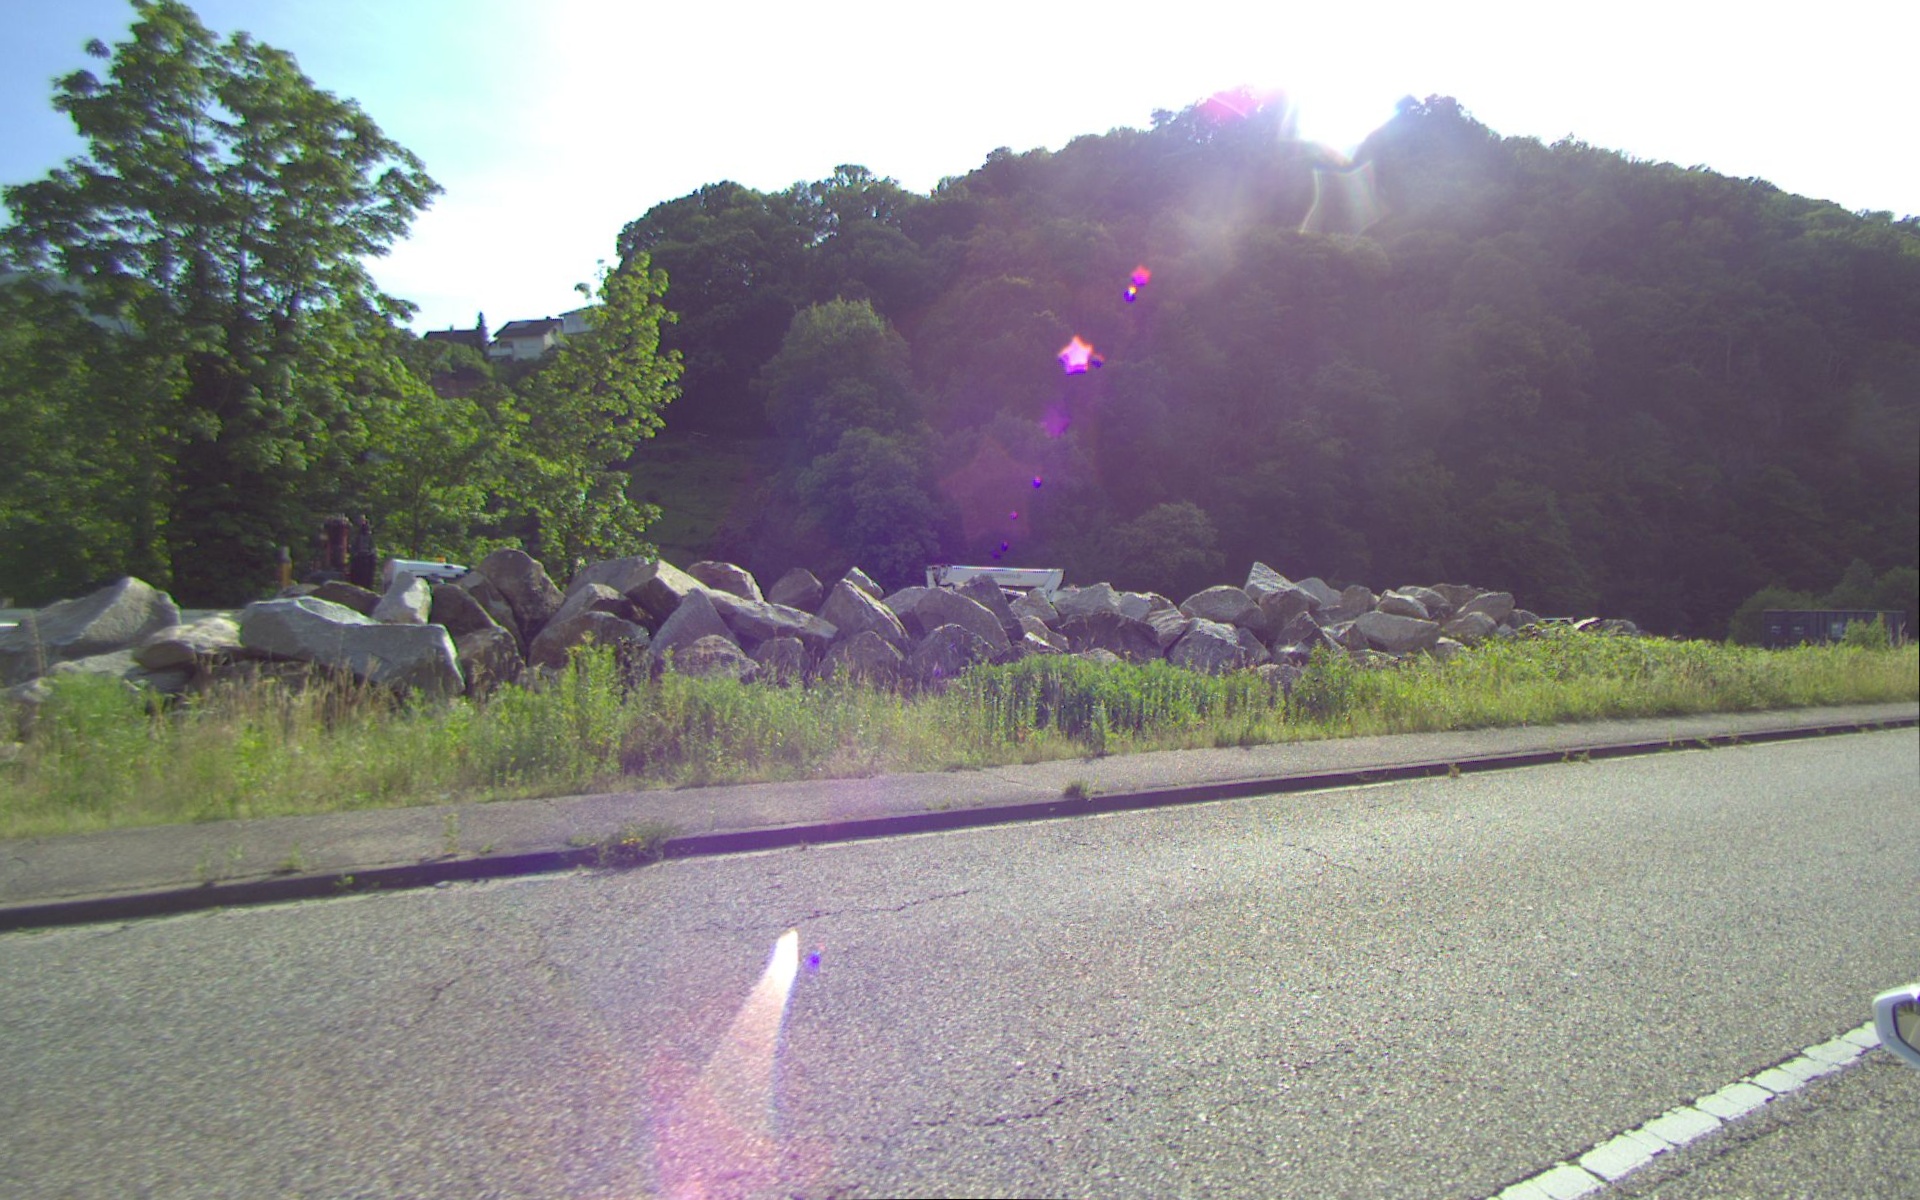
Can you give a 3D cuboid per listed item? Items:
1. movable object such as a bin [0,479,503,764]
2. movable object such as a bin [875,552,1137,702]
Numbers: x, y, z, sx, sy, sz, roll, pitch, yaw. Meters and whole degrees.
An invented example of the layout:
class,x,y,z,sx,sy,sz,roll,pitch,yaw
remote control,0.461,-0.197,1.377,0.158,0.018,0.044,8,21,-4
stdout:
class,x,y,z,sx,sy,sz,roll,pitch,yaw
movable object such as a bin,-11.810,0.415,16.901,7.157,3.999,2.704,1,-3,-35
movable object such as a bin,1.518,0.866,30.222,7.731,3.999,2.880,1,-3,-35
